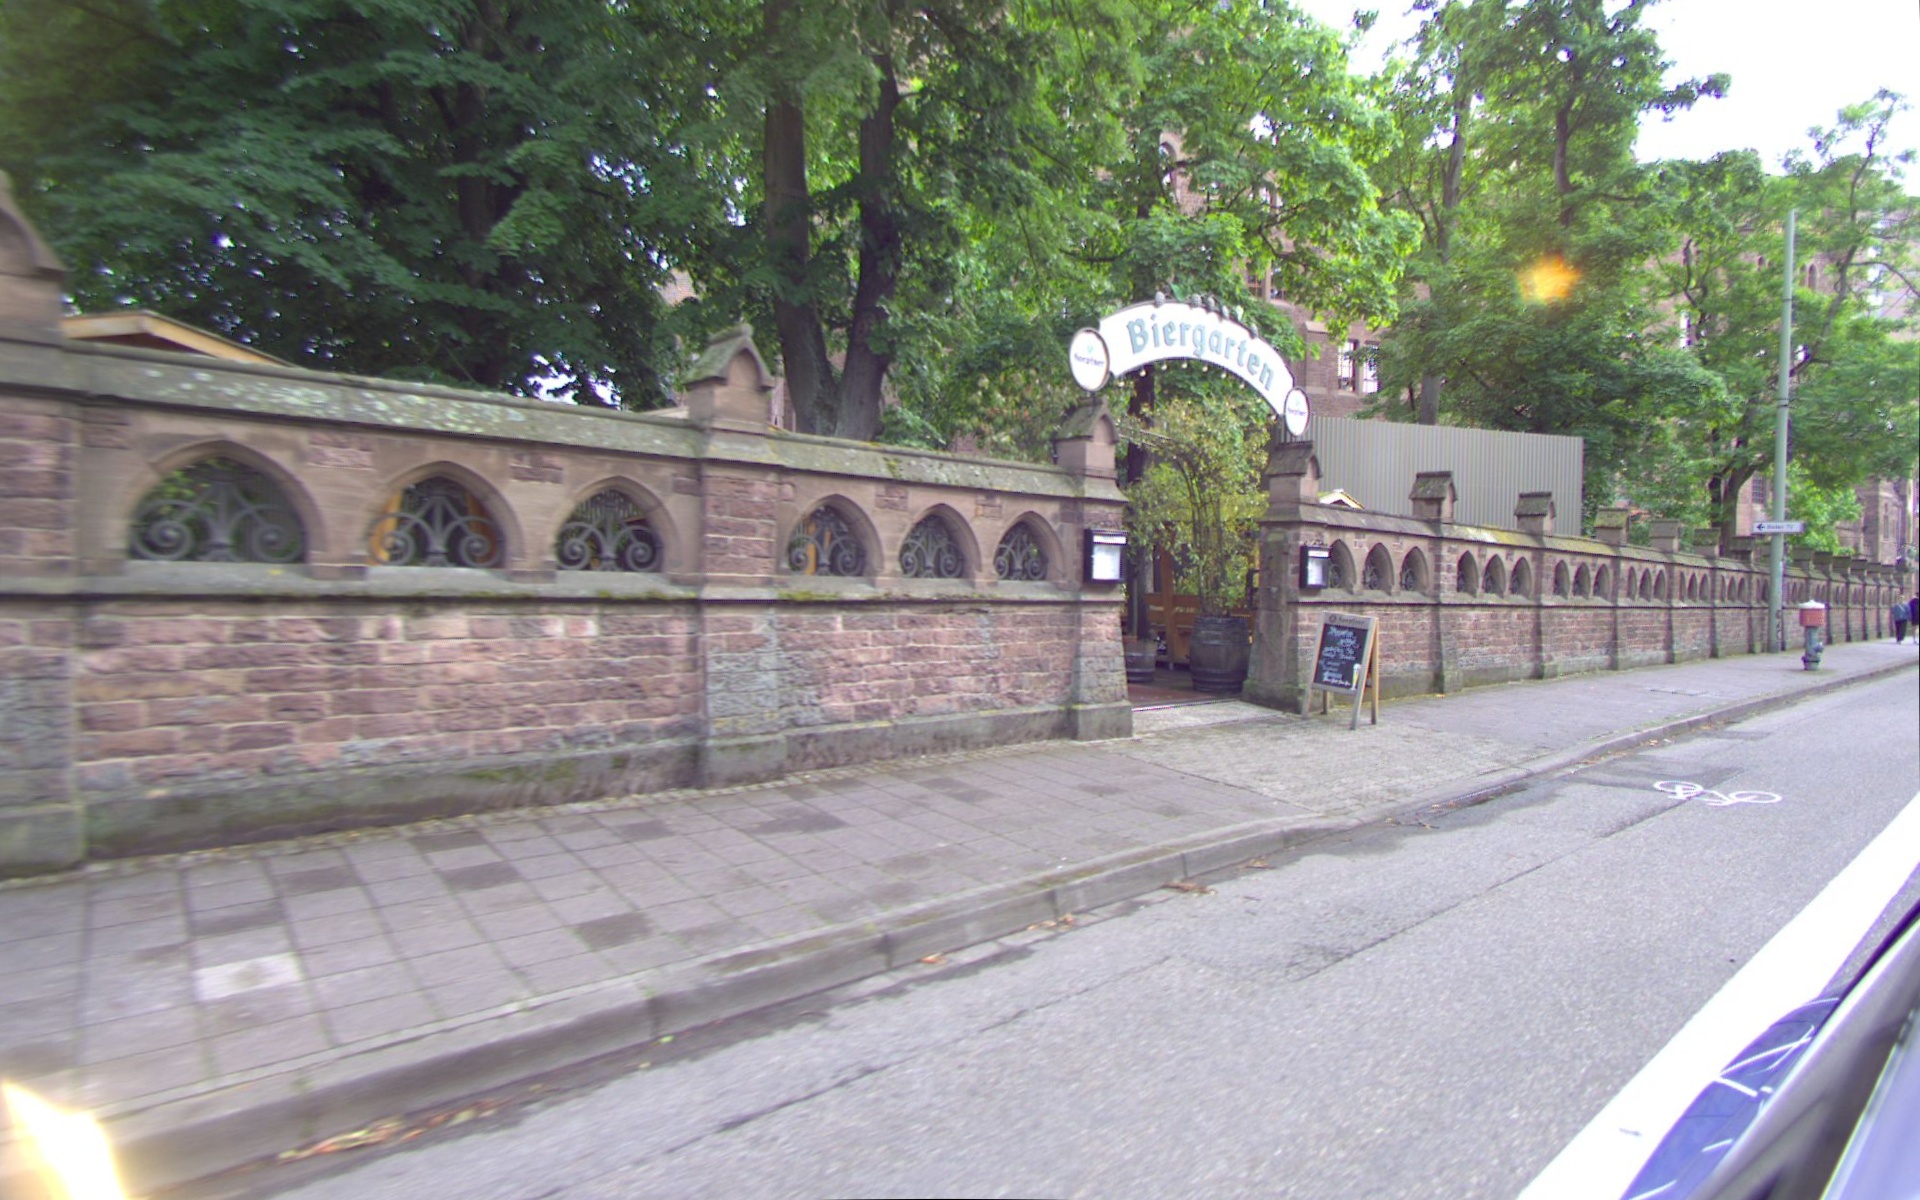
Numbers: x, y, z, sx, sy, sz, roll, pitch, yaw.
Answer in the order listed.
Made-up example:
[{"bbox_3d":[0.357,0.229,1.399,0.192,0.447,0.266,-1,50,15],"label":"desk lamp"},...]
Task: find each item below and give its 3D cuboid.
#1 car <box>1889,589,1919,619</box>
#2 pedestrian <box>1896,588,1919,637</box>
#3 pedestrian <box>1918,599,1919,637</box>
[{"bbox_3d":[58.102,0.350,59.952,1.959,1.637,4.008,1,4,-29],"label":"car"},{"bbox_3d":[33.031,0.430,35.226,0.759,1.675,0.558,0,2,-43],"label":"pedestrian"},{"bbox_3d":[33.601,0.360,34.886,0.883,1.867,0.722,0,3,-43],"label":"pedestrian"}]
